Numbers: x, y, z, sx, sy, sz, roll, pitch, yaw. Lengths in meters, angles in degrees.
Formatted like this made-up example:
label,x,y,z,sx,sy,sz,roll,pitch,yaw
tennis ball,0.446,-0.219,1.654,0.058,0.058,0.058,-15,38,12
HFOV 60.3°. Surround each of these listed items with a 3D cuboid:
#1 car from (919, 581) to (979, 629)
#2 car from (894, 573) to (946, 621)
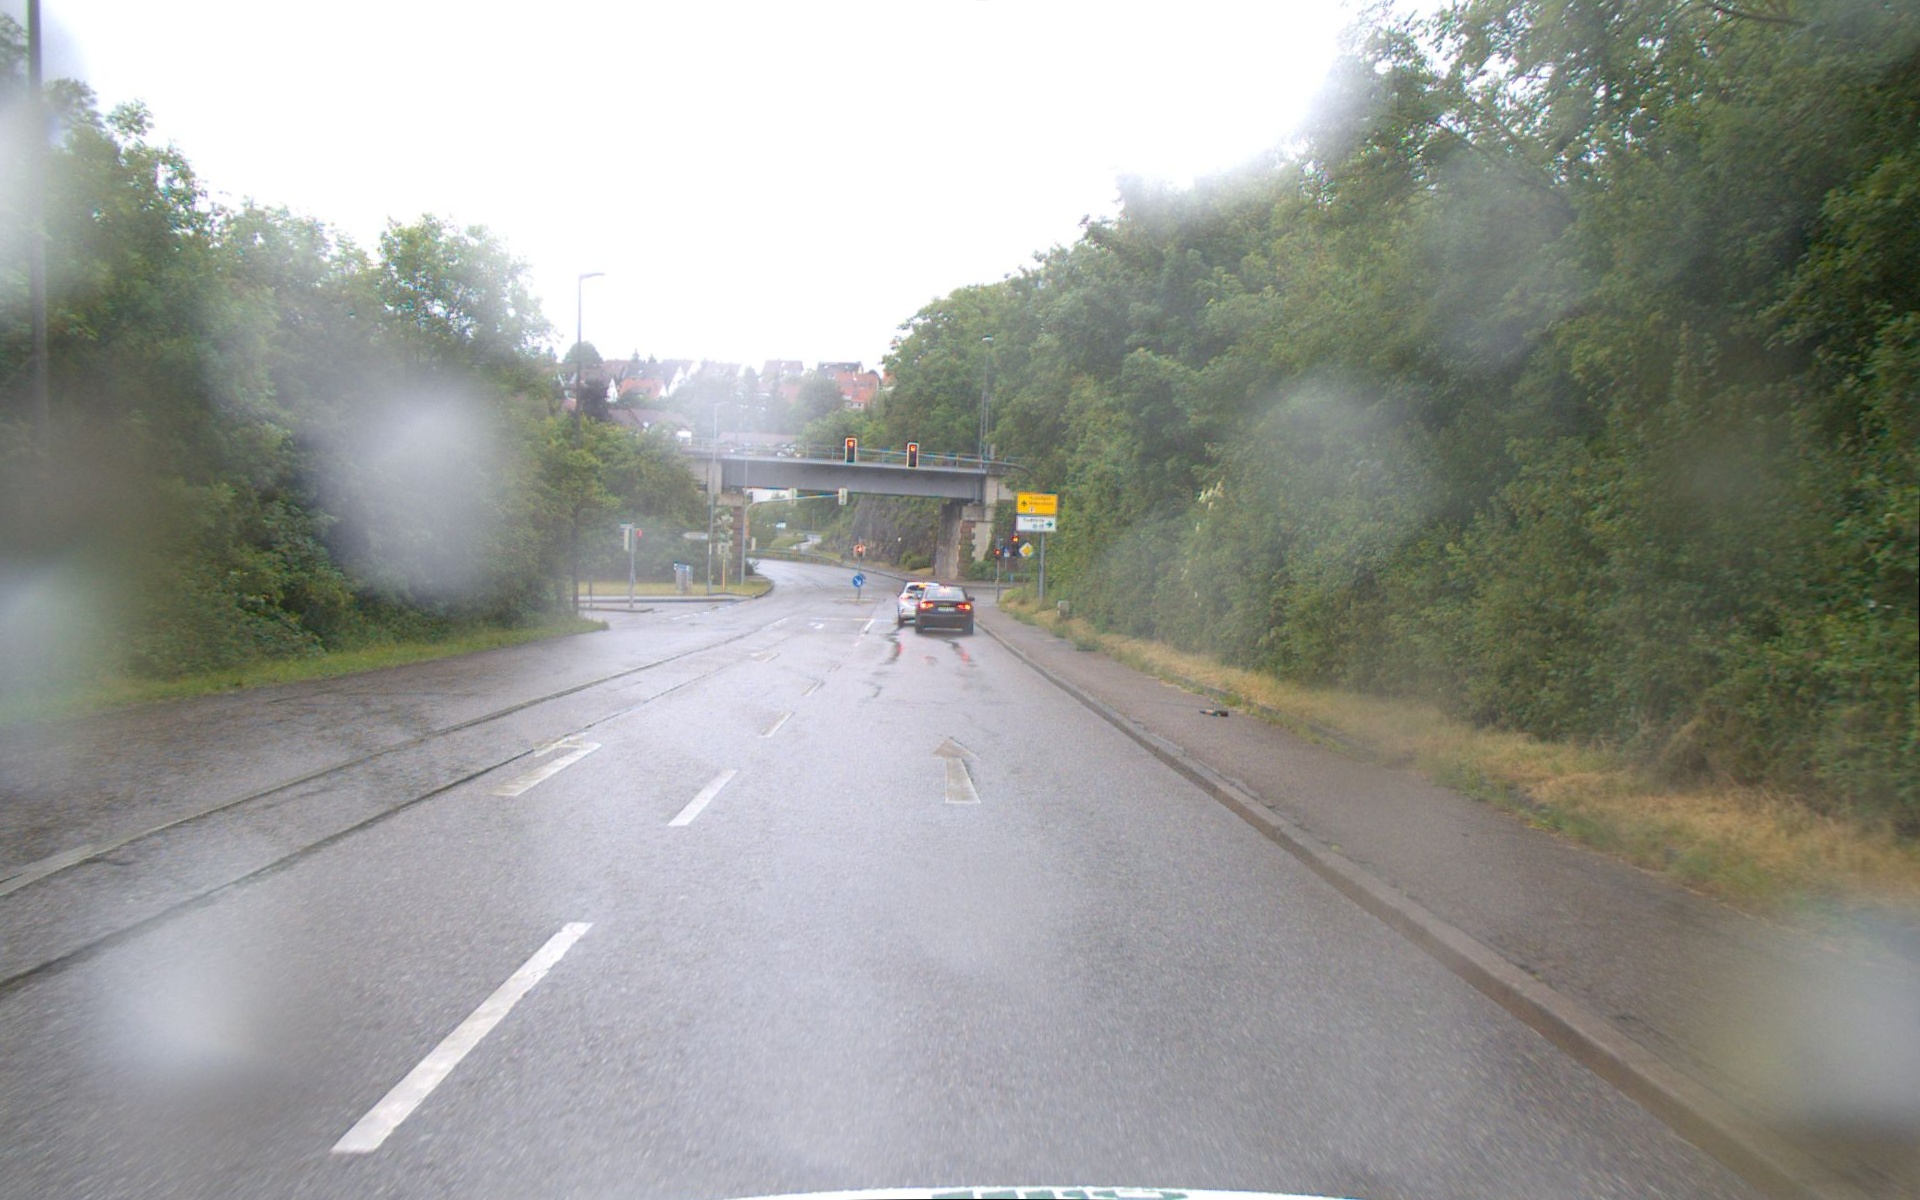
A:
label,x,y,z,sx,sy,sz,roll,pitch,yaw
car,-0.350,0.134,50.616,1.732,1.404,3.999,0,0,-1
car,-1.353,-0.102,57.259,1.732,1.590,3.999,0,0,-1
